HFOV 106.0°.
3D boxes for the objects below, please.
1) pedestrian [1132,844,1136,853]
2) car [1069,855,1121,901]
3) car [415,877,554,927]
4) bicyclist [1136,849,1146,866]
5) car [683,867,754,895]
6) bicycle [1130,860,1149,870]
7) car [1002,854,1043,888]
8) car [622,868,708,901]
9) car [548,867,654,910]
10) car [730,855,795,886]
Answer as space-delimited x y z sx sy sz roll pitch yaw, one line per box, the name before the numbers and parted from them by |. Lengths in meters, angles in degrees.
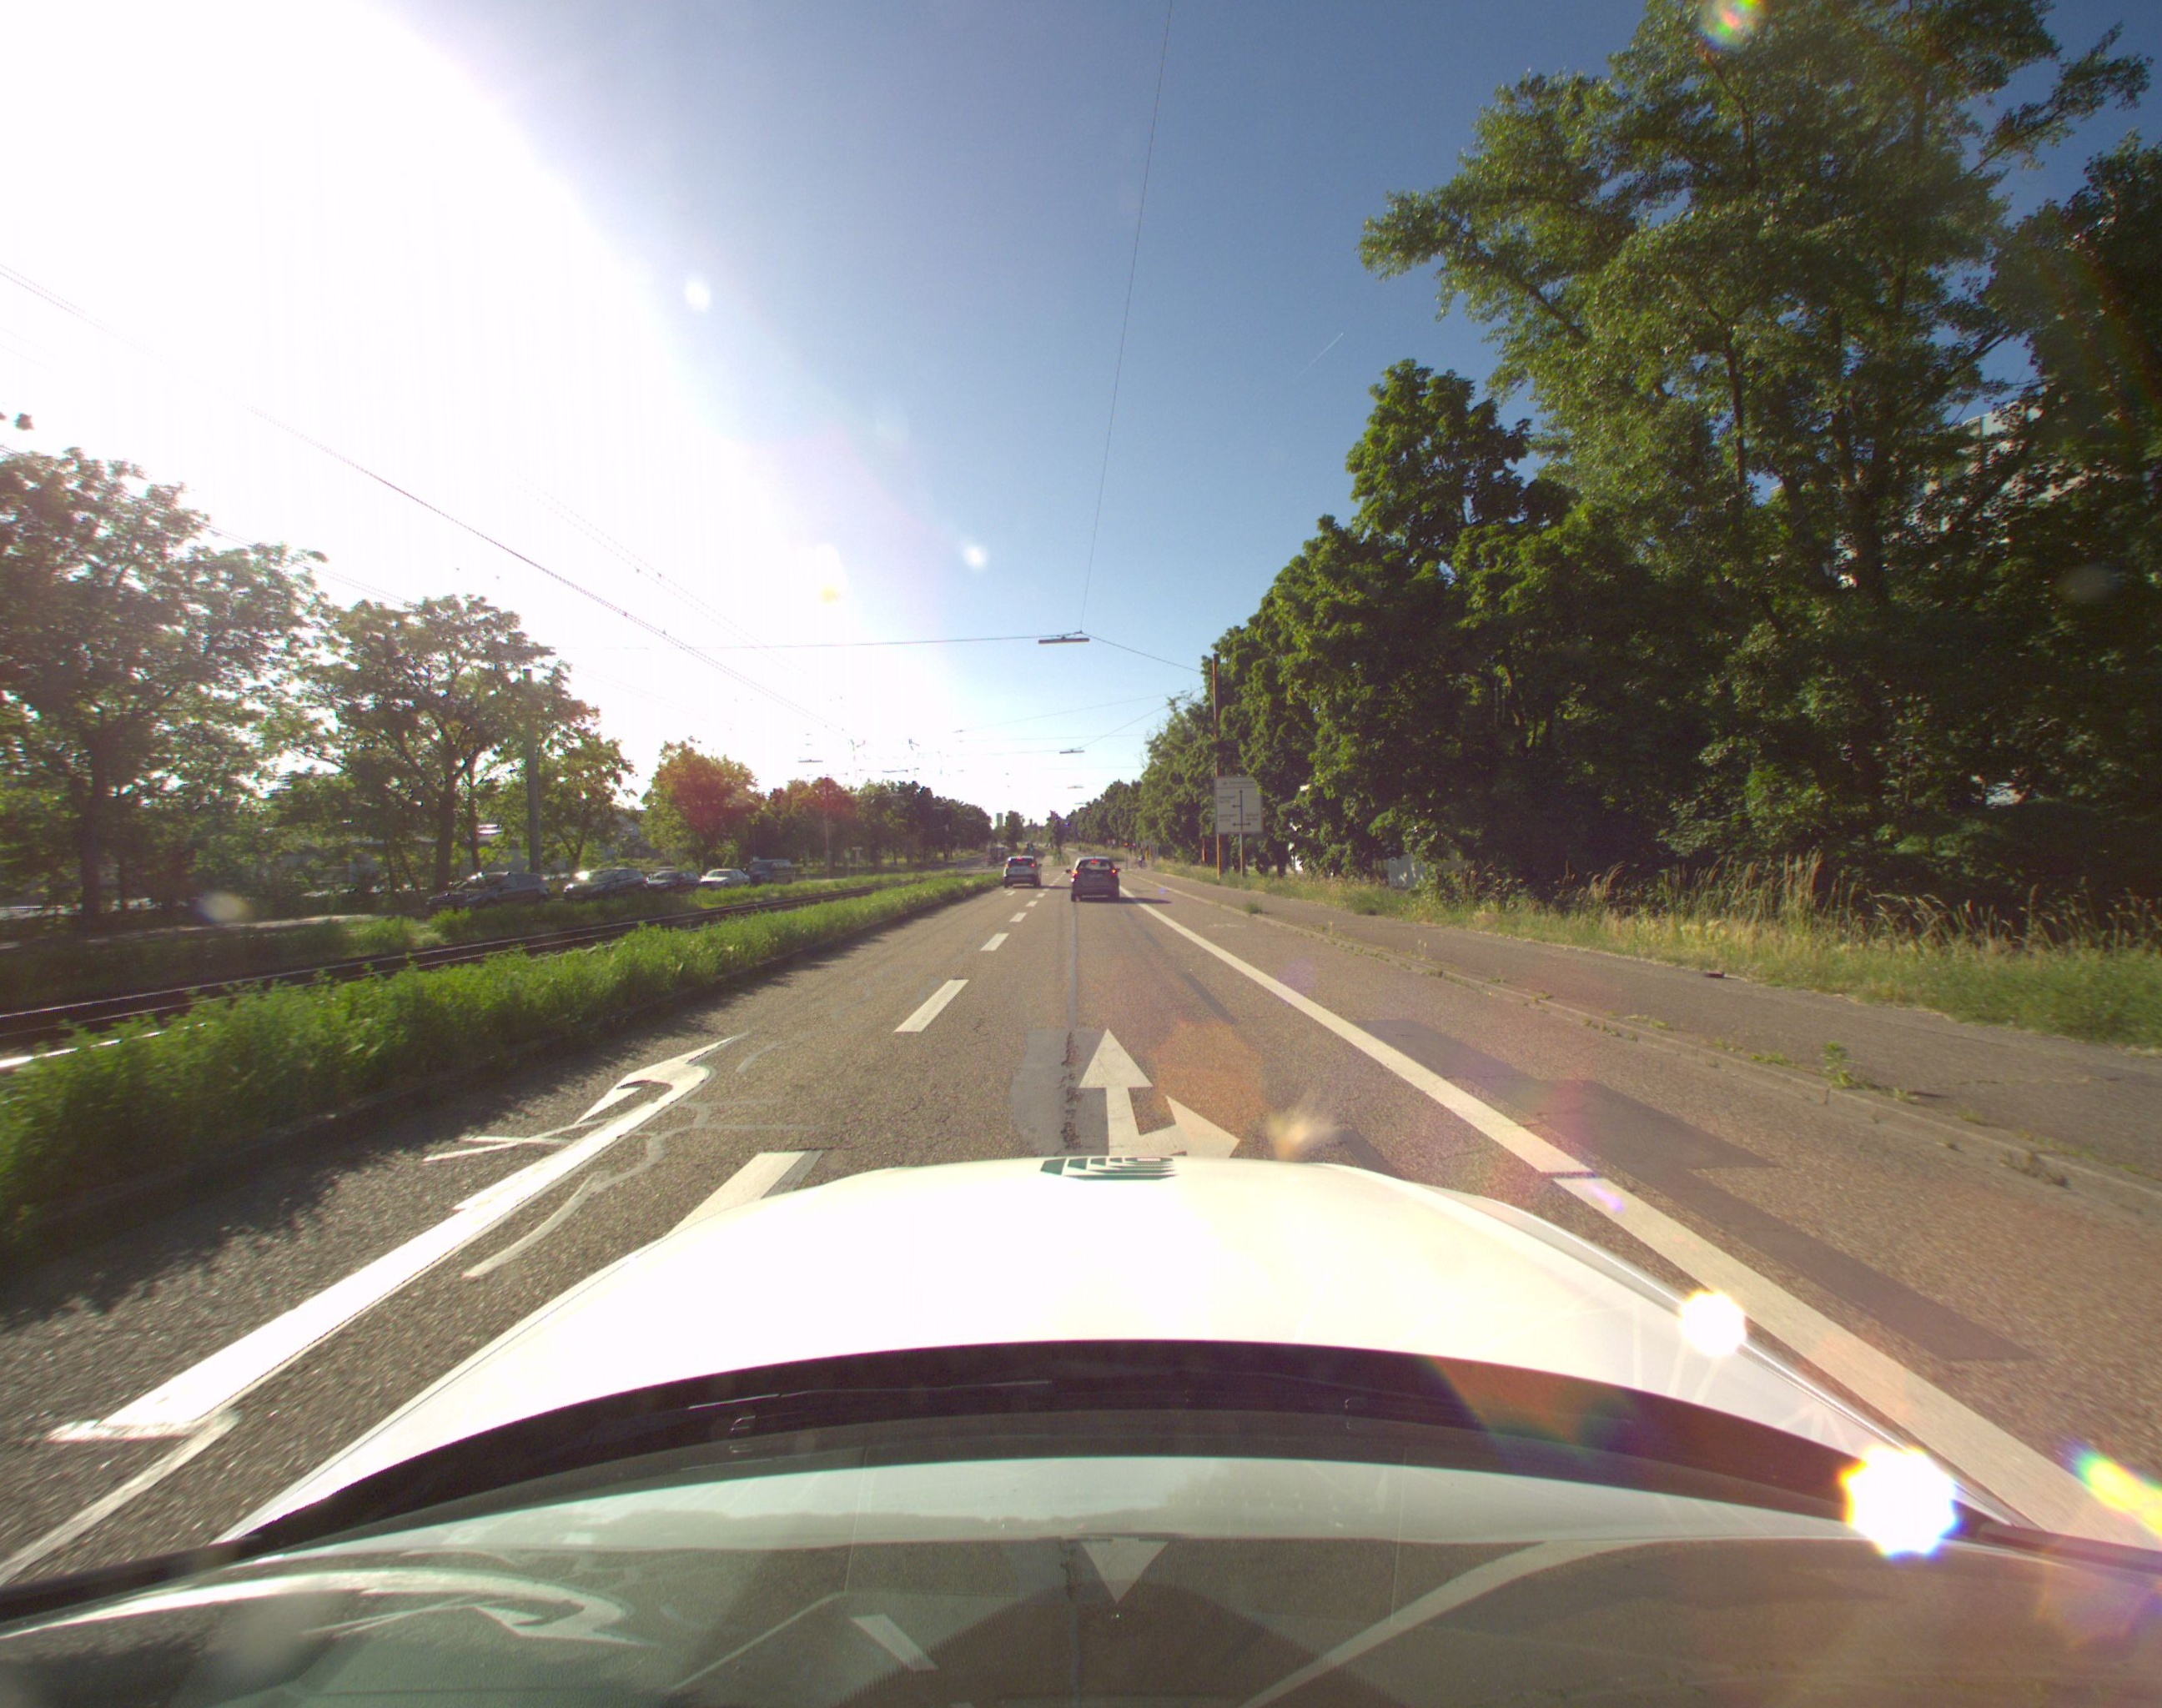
pedestrian | 9.246 -0.997 141.371 0.676 1.610 0.720 0 0 -2
car | 0.510 0.795 29.148 1.701 1.509 4.001 -1 0 1
car | -20.619 1.614 28.388 1.730 1.494 4.324 0 0 -2
bicyclist | 6.437 0.377 87.950 0.904 1.745 0.766 -3 -1 11
car | -20.834 1.520 46.995 1.922 1.437 4.694 -1 0 0
bicycle | 6.274 1.194 87.980 1.908 0.998 0.766 -4 -1 10
car | -2.984 0.838 42.383 1.845 1.606 4.254 -1 0 0
car | -20.679 1.469 40.680 1.987 1.437 4.414 -1 0 0
car | -20.646 1.439 35.288 1.988 1.574 4.432 -1 0 -2
car | -20.751 1.054 53.367 2.188 1.891 4.793 -1 0 2
